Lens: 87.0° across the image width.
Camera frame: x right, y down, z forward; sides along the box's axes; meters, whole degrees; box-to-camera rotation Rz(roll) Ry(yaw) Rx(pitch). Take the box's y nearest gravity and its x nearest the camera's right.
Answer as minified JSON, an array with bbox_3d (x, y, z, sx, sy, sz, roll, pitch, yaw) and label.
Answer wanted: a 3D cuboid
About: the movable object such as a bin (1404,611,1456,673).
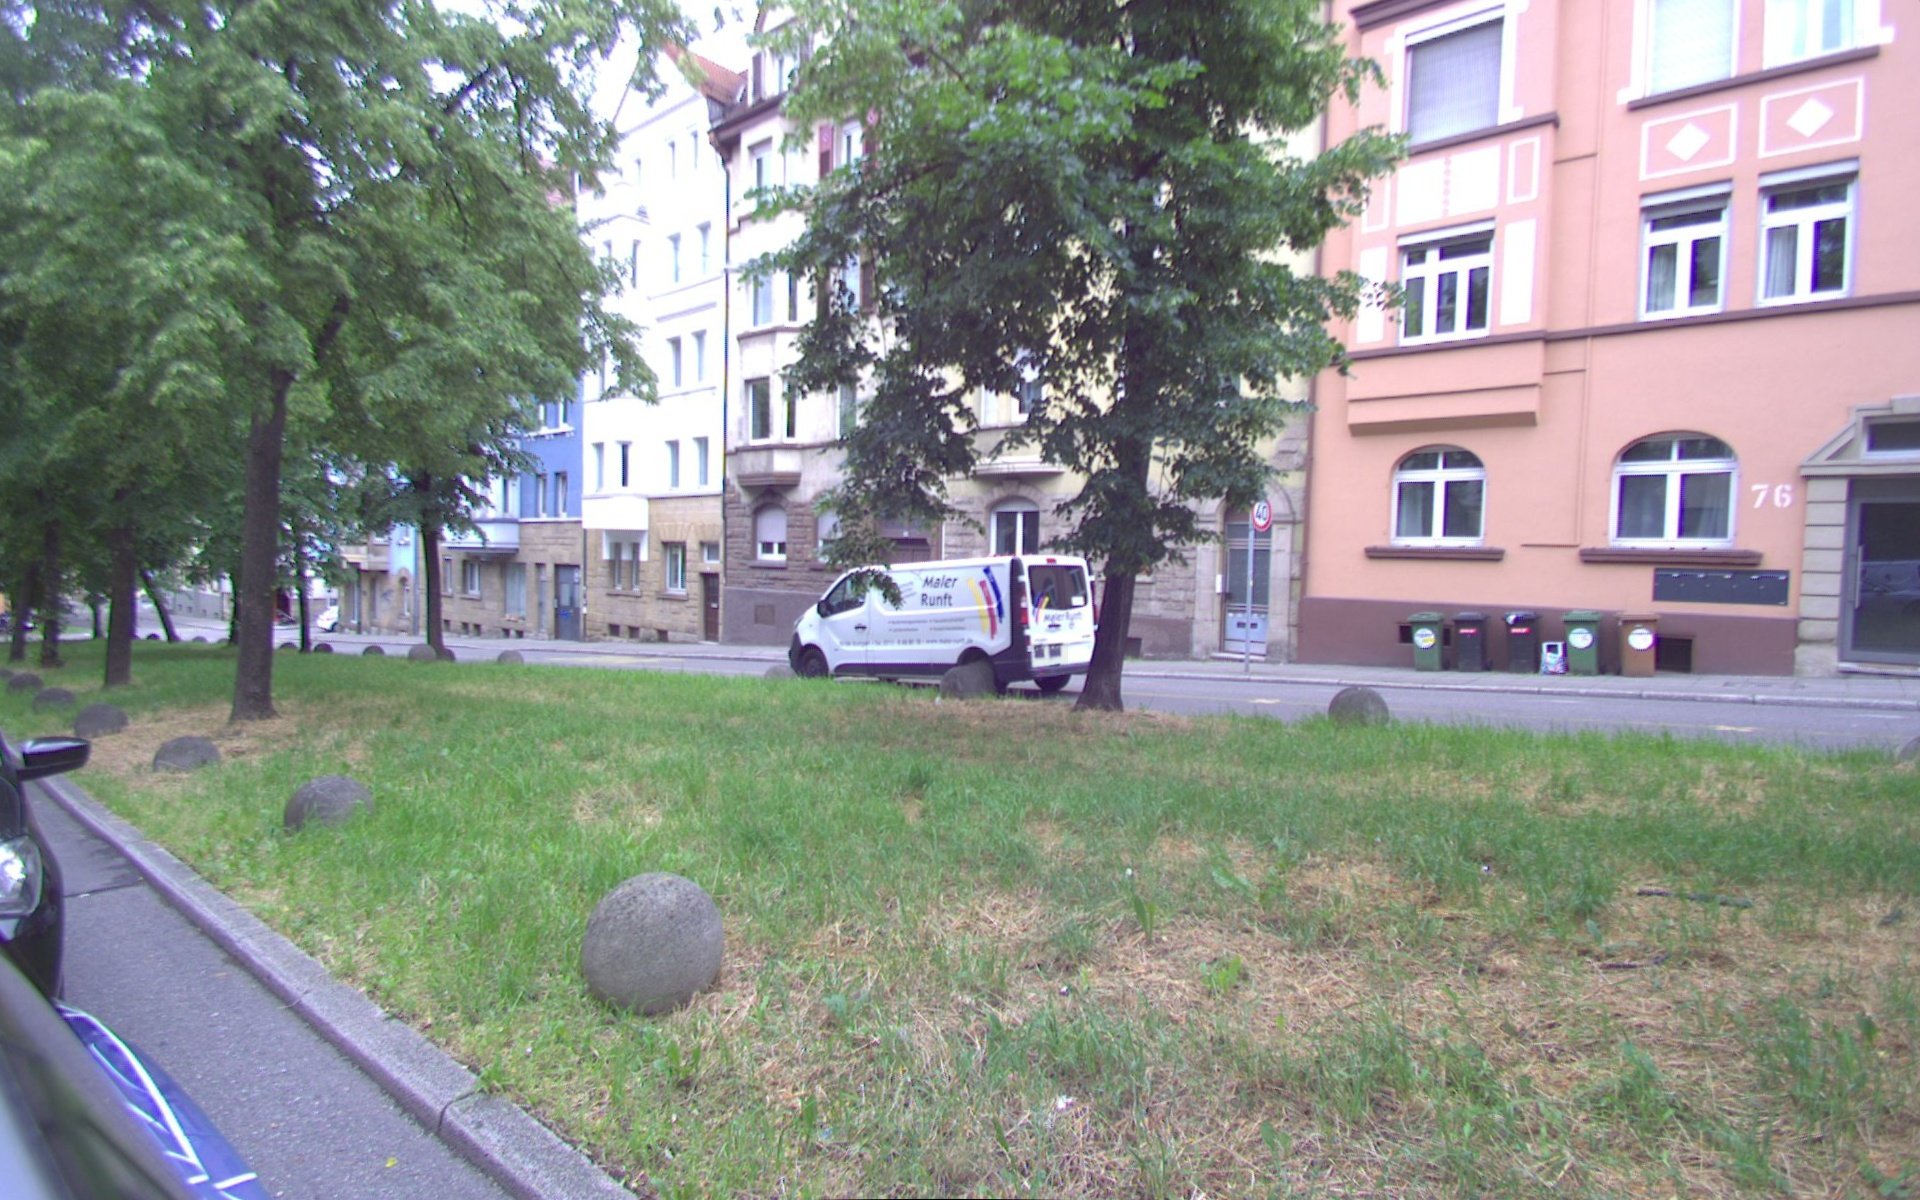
[{"bbox_3d":[7.521,0.666,16.186,0.617,0.955,0.610,-1,0,40],"label":"movable object such as a bin"}]

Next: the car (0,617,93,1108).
[{"bbox_3d":[-4.523,0.792,3.689,3.295,1.476,1.590,-1,-2,41],"label":"car"}]

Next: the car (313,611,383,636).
[{"bbox_3d":[-35.371,1.321,58.488,3.244,1.341,1.674,-1,0,-40],"label":"car"}]

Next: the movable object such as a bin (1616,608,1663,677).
[{"bbox_3d":[9.640,0.586,14.342,0.514,0.928,0.750,-1,0,36],"label":"movable object such as a bin"}]

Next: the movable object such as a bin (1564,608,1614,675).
[{"bbox_3d":[9.166,0.593,14.746,0.558,0.928,0.648,-1,0,36],"label":"movable object such as a bin"}]

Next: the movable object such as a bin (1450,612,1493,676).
[{"bbox_3d":[7.995,0.677,15.813,0.531,0.953,0.575,-1,0,35],"label":"movable object such as a bin"}]

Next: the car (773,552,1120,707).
[{"bbox_3d":[-0.386,0.407,15.350,5.306,1.959,1.972,-2,0,42],"label":"car"}]
